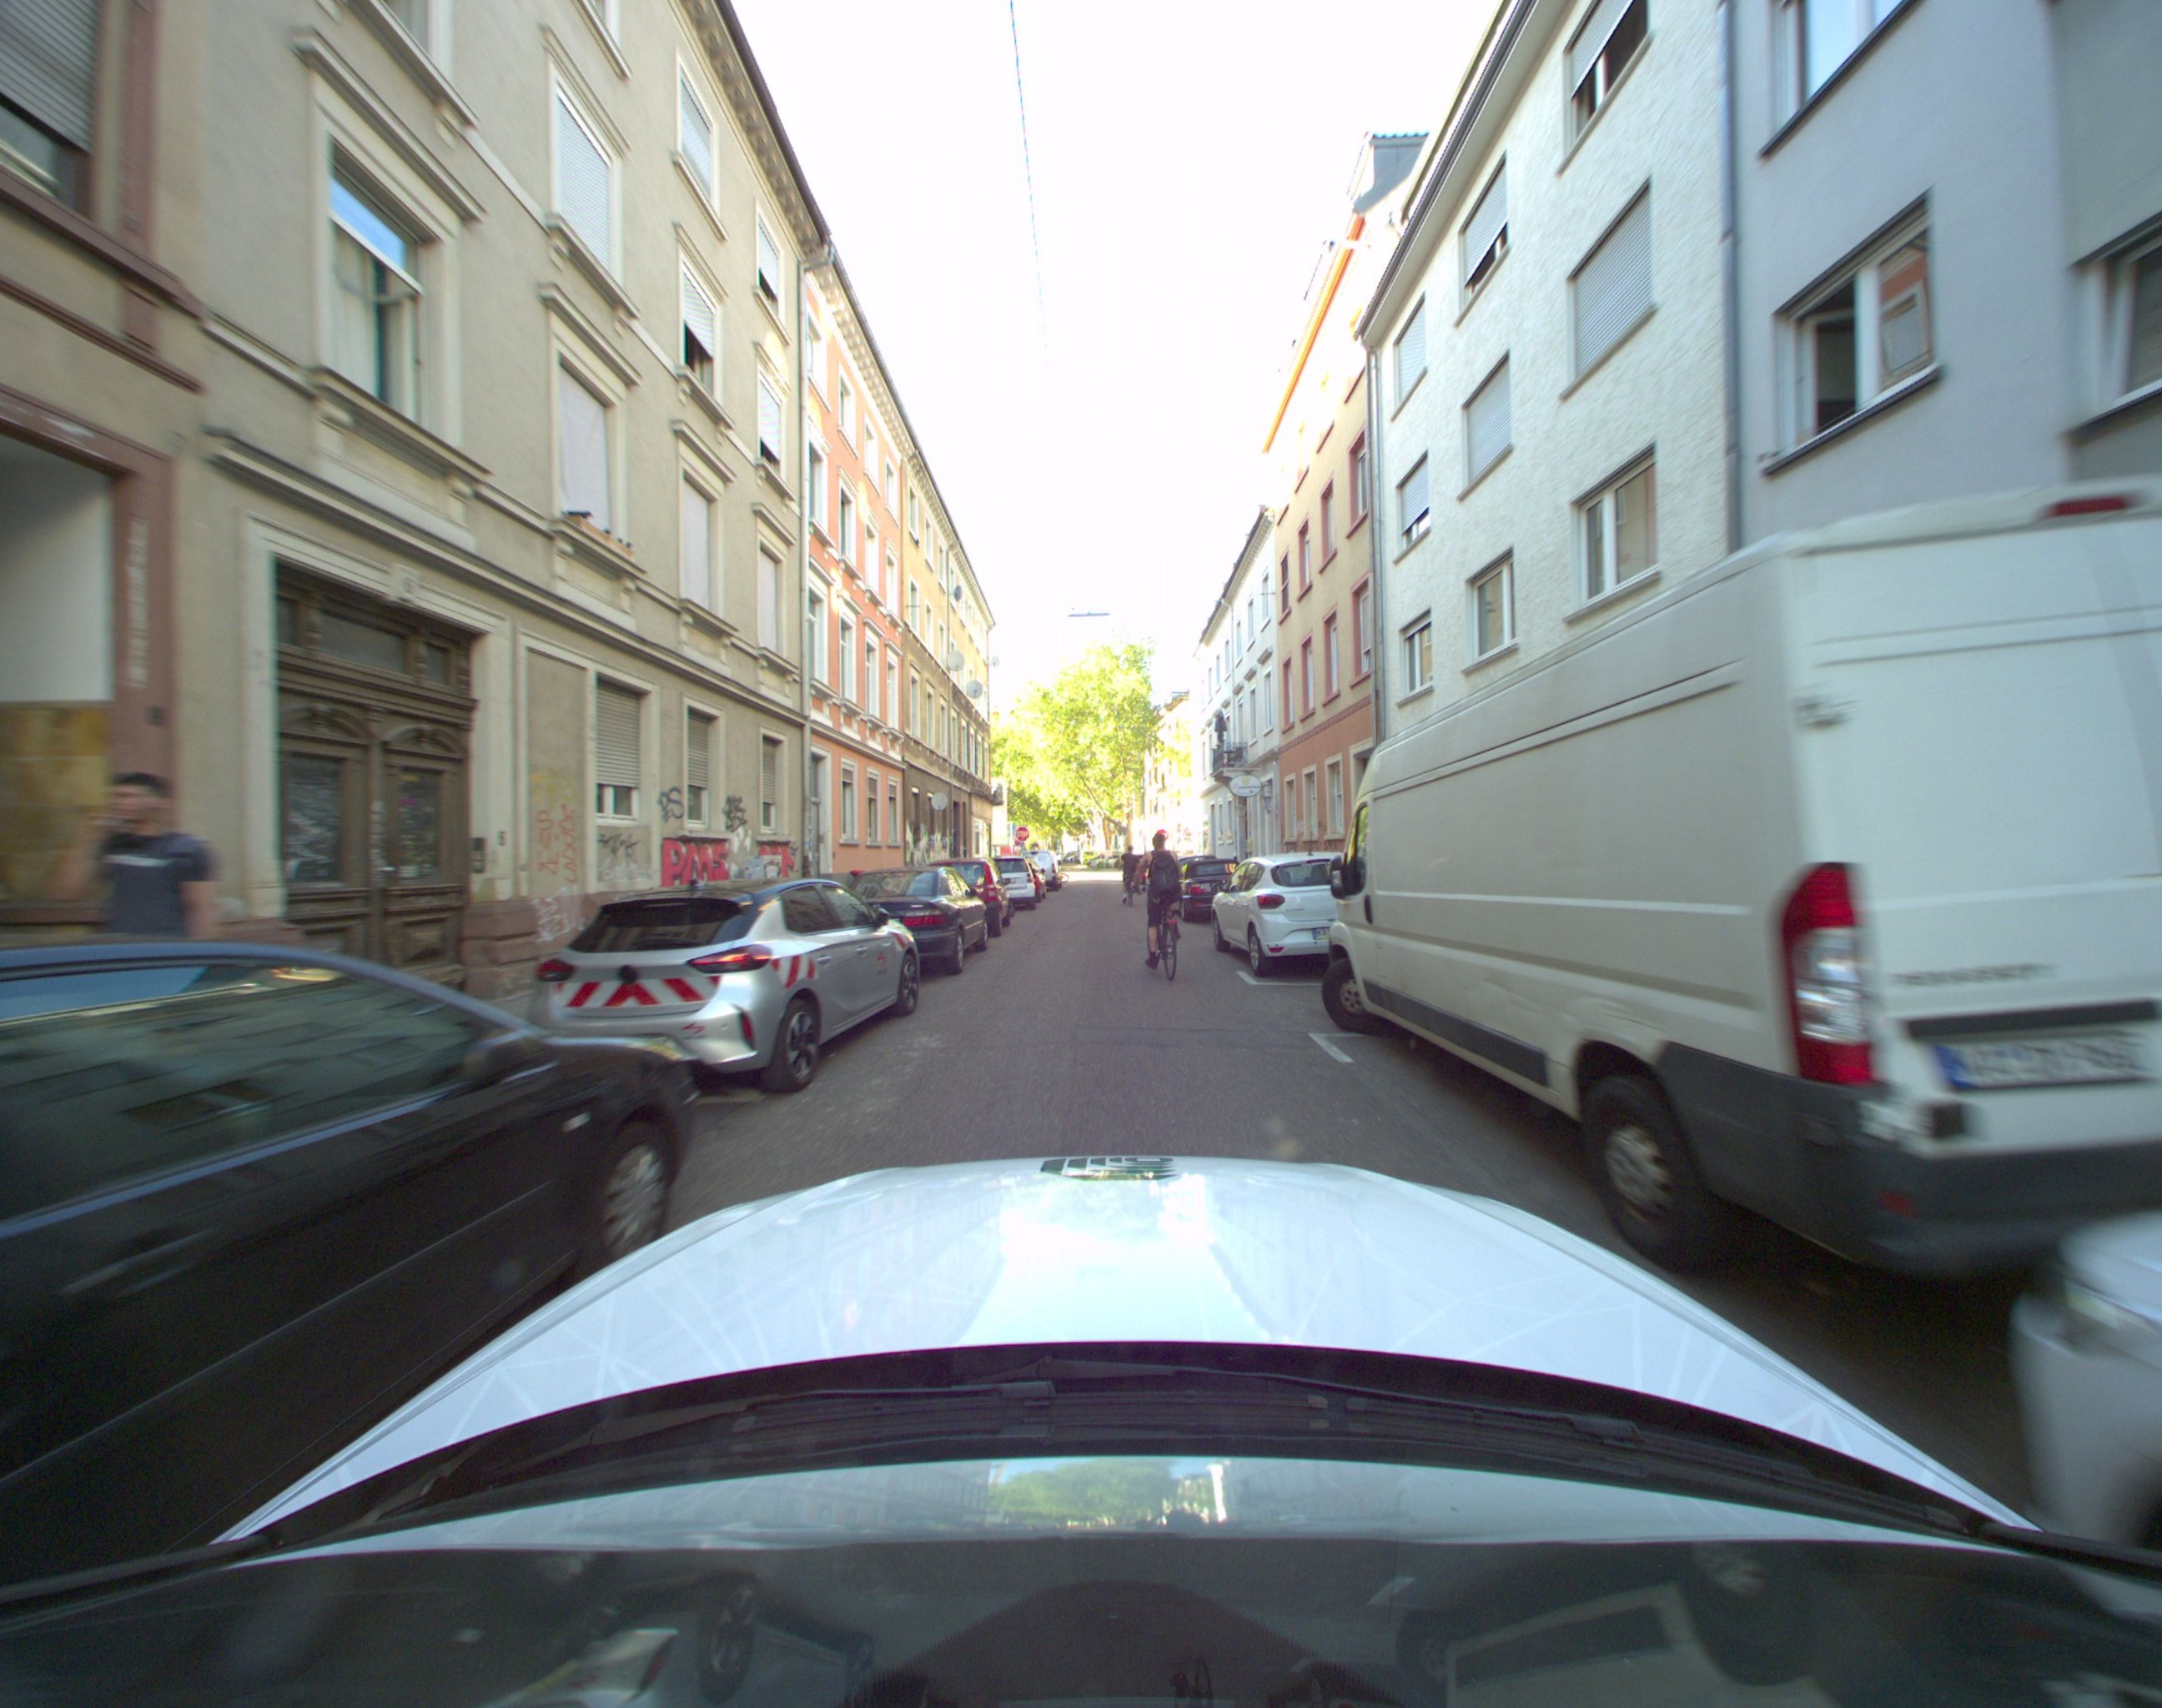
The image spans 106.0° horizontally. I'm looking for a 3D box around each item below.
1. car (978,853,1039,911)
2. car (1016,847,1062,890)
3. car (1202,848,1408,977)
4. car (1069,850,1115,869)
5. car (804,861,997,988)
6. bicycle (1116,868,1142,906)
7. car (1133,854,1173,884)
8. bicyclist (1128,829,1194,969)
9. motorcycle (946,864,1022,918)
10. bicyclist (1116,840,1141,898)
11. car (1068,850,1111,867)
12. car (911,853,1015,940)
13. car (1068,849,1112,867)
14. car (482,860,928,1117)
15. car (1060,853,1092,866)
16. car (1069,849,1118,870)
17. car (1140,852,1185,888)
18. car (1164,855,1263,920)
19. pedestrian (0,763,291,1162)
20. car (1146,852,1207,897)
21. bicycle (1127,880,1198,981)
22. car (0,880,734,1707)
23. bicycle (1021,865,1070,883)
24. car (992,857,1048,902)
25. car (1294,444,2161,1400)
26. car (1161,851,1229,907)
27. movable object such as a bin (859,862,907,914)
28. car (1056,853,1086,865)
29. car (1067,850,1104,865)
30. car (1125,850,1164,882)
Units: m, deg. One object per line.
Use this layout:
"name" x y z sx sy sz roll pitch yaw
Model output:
"car" -2.086 0.763 24.131 1.540 1.550 3.462 -2 0 -2
"car" -1.819 0.614 36.334 1.781 1.737 3.876 -2 0 1
"car" 2.959 0.685 11.651 1.726 1.470 4.019 -2 0 -2
"car" 1.040 0.525 80.880 4.459 1.696 1.864 -2 0 -4
"car" -2.363 0.849 11.795 1.700 1.414 4.303 -2 0 1
"bicycle" 1.405 0.948 24.095 0.661 1.037 1.959 -2 0 1
"car" 3.729 0.735 42.588 1.681 1.471 3.573 -2 0 -1
"bicyclist" 1.003 0.543 10.414 0.737 1.679 1.117 0 0 1
"motorcycle" -2.430 0.905 20.382 1.797 1.256 0.707 -2 0 -13
"bicyclist" 1.397 0.424 24.055 0.667 1.658 0.877 -2 0 1
"car" 0.887 0.489 87.459 4.459 1.696 1.864 -2 0 -4
"car" -2.316 0.790 16.756 1.600 1.530 3.378 -3 0 -1
"car" 0.912 0.432 85.204 4.459 1.696 1.864 -2 0 -4
"car" -2.588 0.813 6.737 1.666 1.430 3.892 -2 0 3
"car" -0.705 0.726 116.413 4.459 1.696 1.864 -2 0 -4
"car" 1.153 0.506 75.917 4.459 1.759 1.864 -2 0 -4
"car" 3.647 0.687 37.013 1.647 1.530 3.573 -2 0 -1
"car" 3.053 0.713 19.469 1.652 1.338 3.999 -2 0 -1
"pedestrian" -4.766 0.508 4.196 0.608 1.858 0.754 1 0 0
"car" 3.418 0.705 29.906 1.705 1.470 3.999 -2 0 -1
"bicycle" 1.004 0.924 10.487 0.737 1.100 2.042 0 0 1
"car" -2.488 0.865 1.964 1.586 1.440 3.655 -2 0 2
"bicycle" -2.002 1.118 45.870 2.708 0.892 0.618 -2 0 -2
"car" -2.041 0.827 27.895 1.547 1.399 3.668 -2 0 1
"car" 3.114 0.169 5.188 2.195 2.551 6.041 -2 0 3
"car" 3.335 0.691 24.447 1.586 1.492 3.877 -2 0 2
"movable object such as a bin" -4.708 0.807 19.409 0.831 1.126 0.716 -6 0 3
"car" -1.558 0.791 123.474 4.459 1.696 1.864 -2 0 -4
"car" 0.564 0.440 100.635 4.459 1.696 1.864 -2 0 -4
"car" 3.688 0.656 47.862 1.887 1.769 3.998 -2 0 -1
